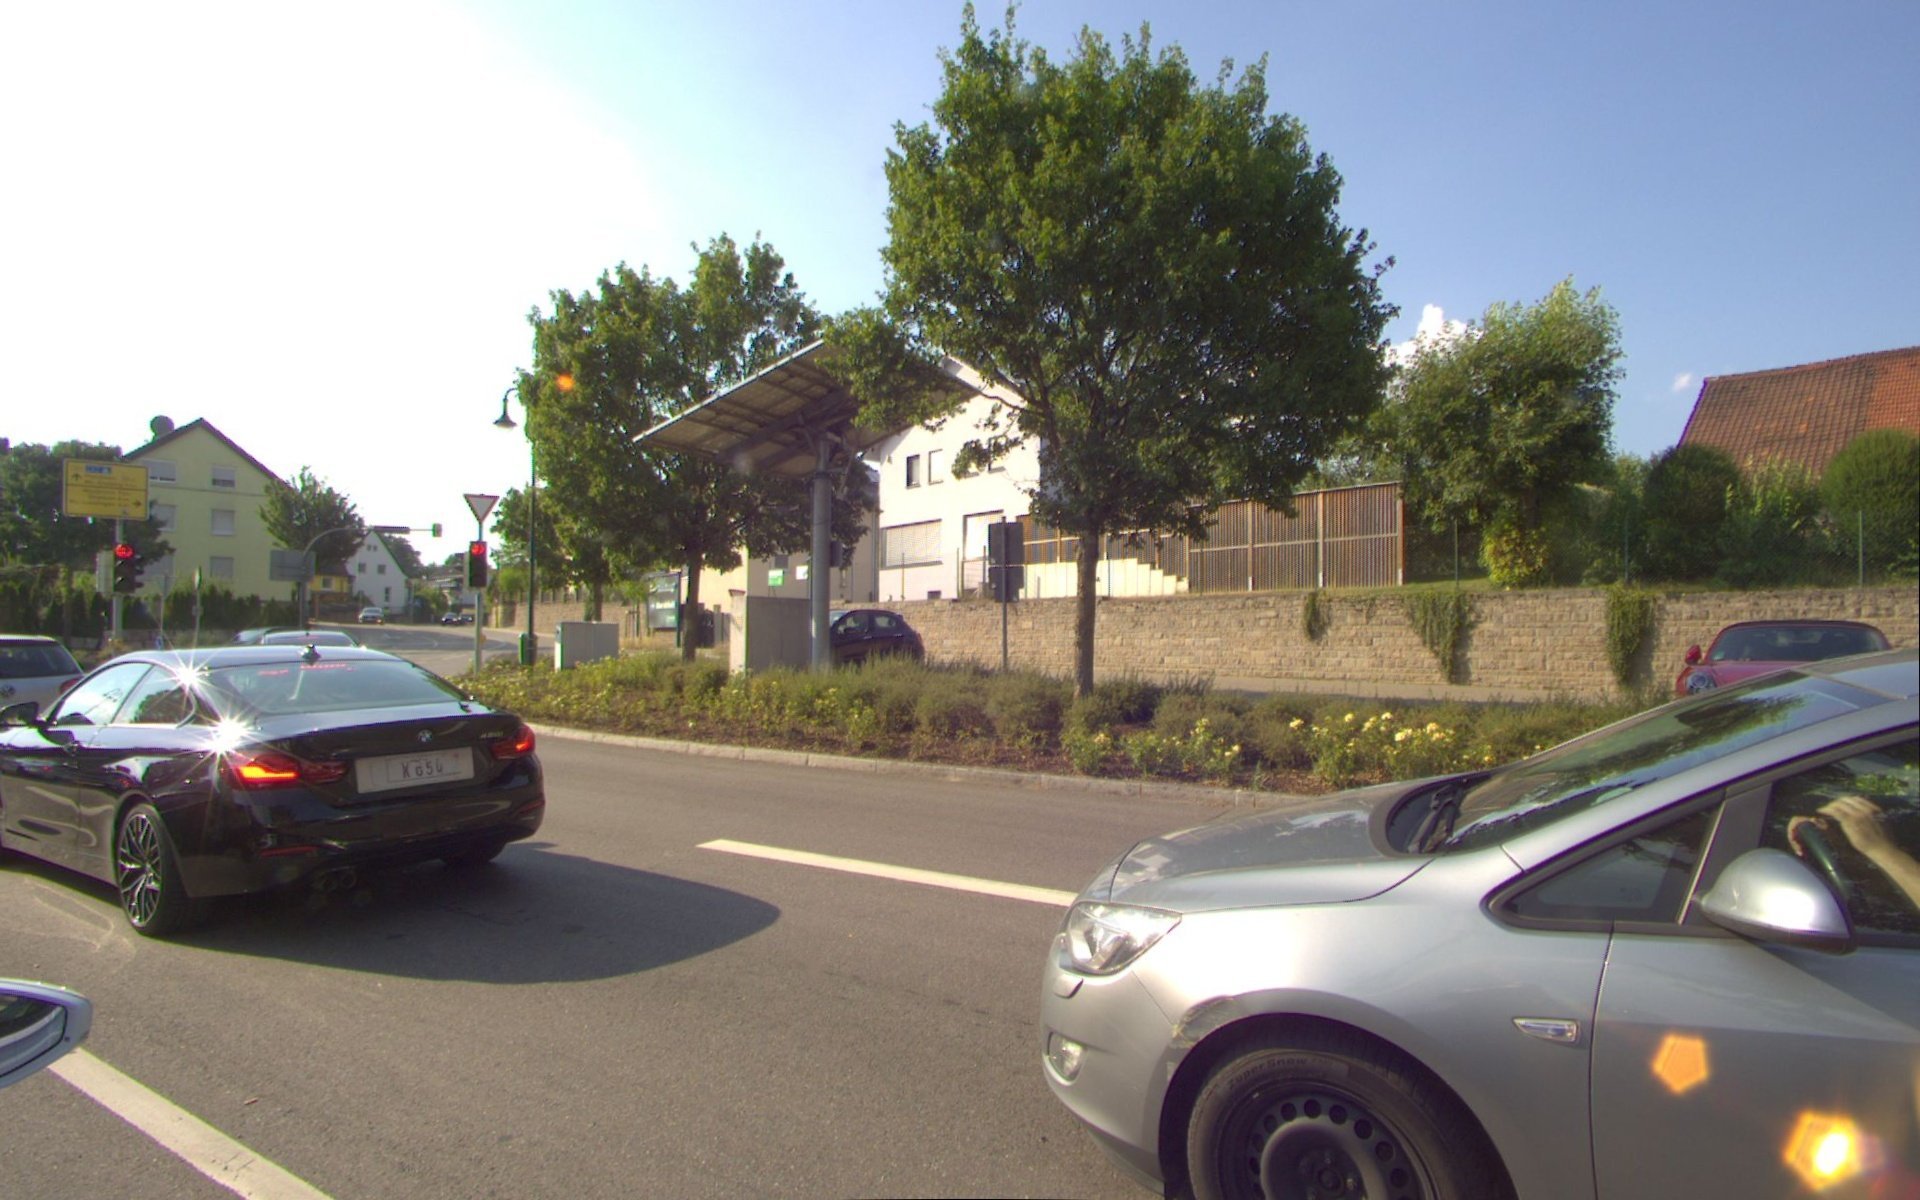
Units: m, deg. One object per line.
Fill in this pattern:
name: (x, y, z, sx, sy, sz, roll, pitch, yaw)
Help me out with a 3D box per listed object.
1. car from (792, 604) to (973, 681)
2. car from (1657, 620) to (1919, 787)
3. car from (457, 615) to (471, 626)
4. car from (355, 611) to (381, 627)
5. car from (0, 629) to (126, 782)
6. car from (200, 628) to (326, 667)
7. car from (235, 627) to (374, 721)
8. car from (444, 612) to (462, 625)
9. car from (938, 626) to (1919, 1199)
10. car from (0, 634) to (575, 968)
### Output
car: (-1.728, 0.960, 23.167, 1.835, 1.628, 3.964, -1, -2, 45)
car: (8.241, 0.864, 9.683, 1.835, 1.288, 3.964, -1, -2, 45)
car: (-75.691, 3.163, 152.887, 1.753, 1.600, 3.987, 1, -2, -24)
car: (-48.386, 1.557, 81.900, 1.691, 1.260, 3.981, 1, -1, -28)
car: (-10.894, 1.042, 10.798, 4.287, 1.465, 1.812, -1, -2, 34)
car: (-28.713, 1.934, 41.414, 1.759, 1.526, 4.065, 0, -2, 17)
car: (-11.776, 1.219, 17.856, 1.667, 1.454, 4.553, 1, -2, -39)
car: (-66.188, 2.415, 130.778, 1.753, 1.600, 3.989, 1, -2, -22)
car: (2.135, 0.792, 2.213, 4.107, 1.460, 1.741, -1, -2, 32)
car: (-4.502, 0.922, 6.238, 4.287, 1.406, 1.812, -1, -2, 34)
